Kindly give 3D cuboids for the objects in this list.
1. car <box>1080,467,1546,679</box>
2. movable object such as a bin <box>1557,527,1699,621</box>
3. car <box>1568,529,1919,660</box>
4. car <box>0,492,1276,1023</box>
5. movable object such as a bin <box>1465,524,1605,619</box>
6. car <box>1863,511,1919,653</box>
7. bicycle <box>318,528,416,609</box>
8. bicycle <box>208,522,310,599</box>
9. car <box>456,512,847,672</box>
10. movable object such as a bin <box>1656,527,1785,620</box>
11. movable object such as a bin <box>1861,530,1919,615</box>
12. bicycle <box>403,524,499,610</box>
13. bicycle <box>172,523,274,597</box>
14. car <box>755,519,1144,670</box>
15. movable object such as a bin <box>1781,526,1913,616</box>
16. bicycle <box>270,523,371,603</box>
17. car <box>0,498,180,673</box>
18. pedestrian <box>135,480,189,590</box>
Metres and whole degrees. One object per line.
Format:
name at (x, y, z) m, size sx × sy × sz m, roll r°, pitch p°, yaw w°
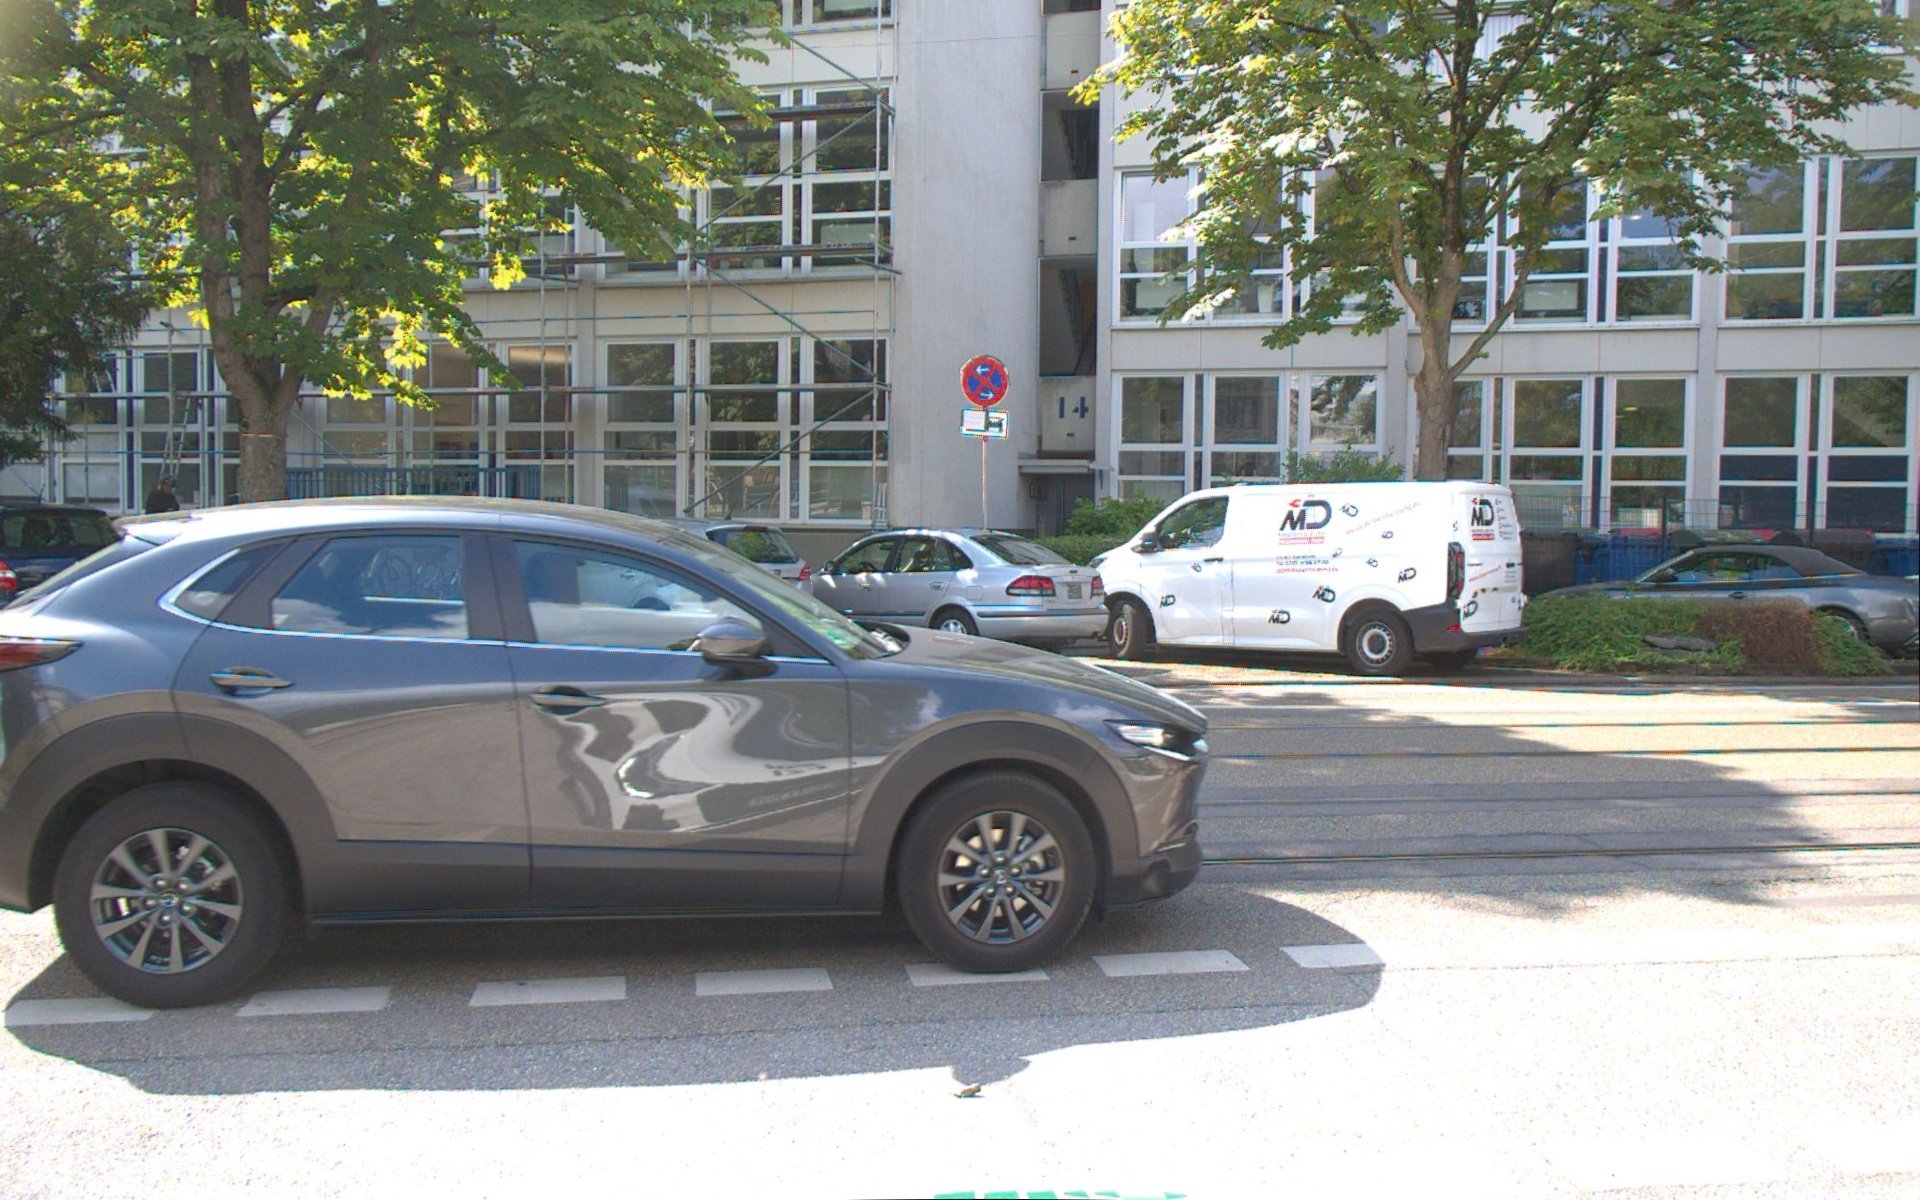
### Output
car at (3.755, -0.366, 18.070) m, size 4.598 × 2.031 × 1.959 m, roll 2°, pitch 3°, yaw 39°
movable object such as a bin at (10.238, -0.378, 25.402) m, size 1.508 × 1.388 × 1.386 m, roll 0°, pitch 0°, yaw -14°
car at (9.481, -0.077, 19.814) m, size 3.912 × 1.442 × 1.719 m, roll 0°, pitch 1°, yaw 29°
car at (-1.197, 0.391, 6.020) m, size 4.258 × 1.538 × 1.791 m, roll 0°, pitch 4°, yaw -11°
movable object such as a bin at (8.689, -0.414, 25.040) m, size 1.508 × 1.388 × 1.386 m, roll 0°, pitch 0°, yaw -14°
car at (13.097, -0.213, 19.979) m, size 3.643 × 1.722 × 1.753 m, roll 1°, pitch 1°, yaw 37°
bicycle at (-8.696, -0.478, 24.307) m, size 0.529 × 1.140 × 1.582 m, roll -1°, pitch 2°, yaw 14°
bicycle at (-10.594, -0.612, 25.037) m, size 0.529 × 1.111 × 1.582 m, roll -1°, pitch 2°, yaw 14°
car at (-3.381, -0.169, 17.838) m, size 4.108 × 1.526 × 1.816 m, roll 2°, pitch 3°, yaw 35°
movable object such as a bin at (11.832, -0.400, 25.759) m, size 1.412 × 1.405 × 1.192 m, roll 0°, pitch 0°, yaw -13°
movable object such as a bin at (15.203, -0.413, 26.011) m, size 1.411 × 1.306 × 1.168 m, roll 0°, pitch 0°, yaw -11°
bicycle at (-7.309, -0.487, 23.816) m, size 0.529 × 1.182 × 1.582 m, roll -1°, pitch 2°, yaw 14°
bicycle at (-11.359, -0.632, 25.543) m, size 0.529 × 1.099 × 1.582 m, roll -1°, pitch 2°, yaw 14°
car at (-0.184, -0.145, 18.270) m, size 4.092 × 1.475 × 1.814 m, roll 2°, pitch 3°, yaw 39°
movable object such as a bin at (13.788, -0.438, 25.741) m, size 1.411 × 1.350 × 1.164 m, roll 0°, pitch 0°, yaw -11°
bicycle at (-9.443, -0.566, 24.485) m, size 0.529 × 1.133 × 1.582 m, roll -1°, pitch 2°, yaw 14°
car at (-9.643, -0.235, 16.457) m, size 3.806 × 1.549 × 1.737 m, roll 3°, pitch 4°, yaw 35°
pedestrian at (-12.243, -0.996, 25.376) m, size 0.649 × 1.652 × 0.639 m, roll 1°, pitch 3°, yaw -18°
